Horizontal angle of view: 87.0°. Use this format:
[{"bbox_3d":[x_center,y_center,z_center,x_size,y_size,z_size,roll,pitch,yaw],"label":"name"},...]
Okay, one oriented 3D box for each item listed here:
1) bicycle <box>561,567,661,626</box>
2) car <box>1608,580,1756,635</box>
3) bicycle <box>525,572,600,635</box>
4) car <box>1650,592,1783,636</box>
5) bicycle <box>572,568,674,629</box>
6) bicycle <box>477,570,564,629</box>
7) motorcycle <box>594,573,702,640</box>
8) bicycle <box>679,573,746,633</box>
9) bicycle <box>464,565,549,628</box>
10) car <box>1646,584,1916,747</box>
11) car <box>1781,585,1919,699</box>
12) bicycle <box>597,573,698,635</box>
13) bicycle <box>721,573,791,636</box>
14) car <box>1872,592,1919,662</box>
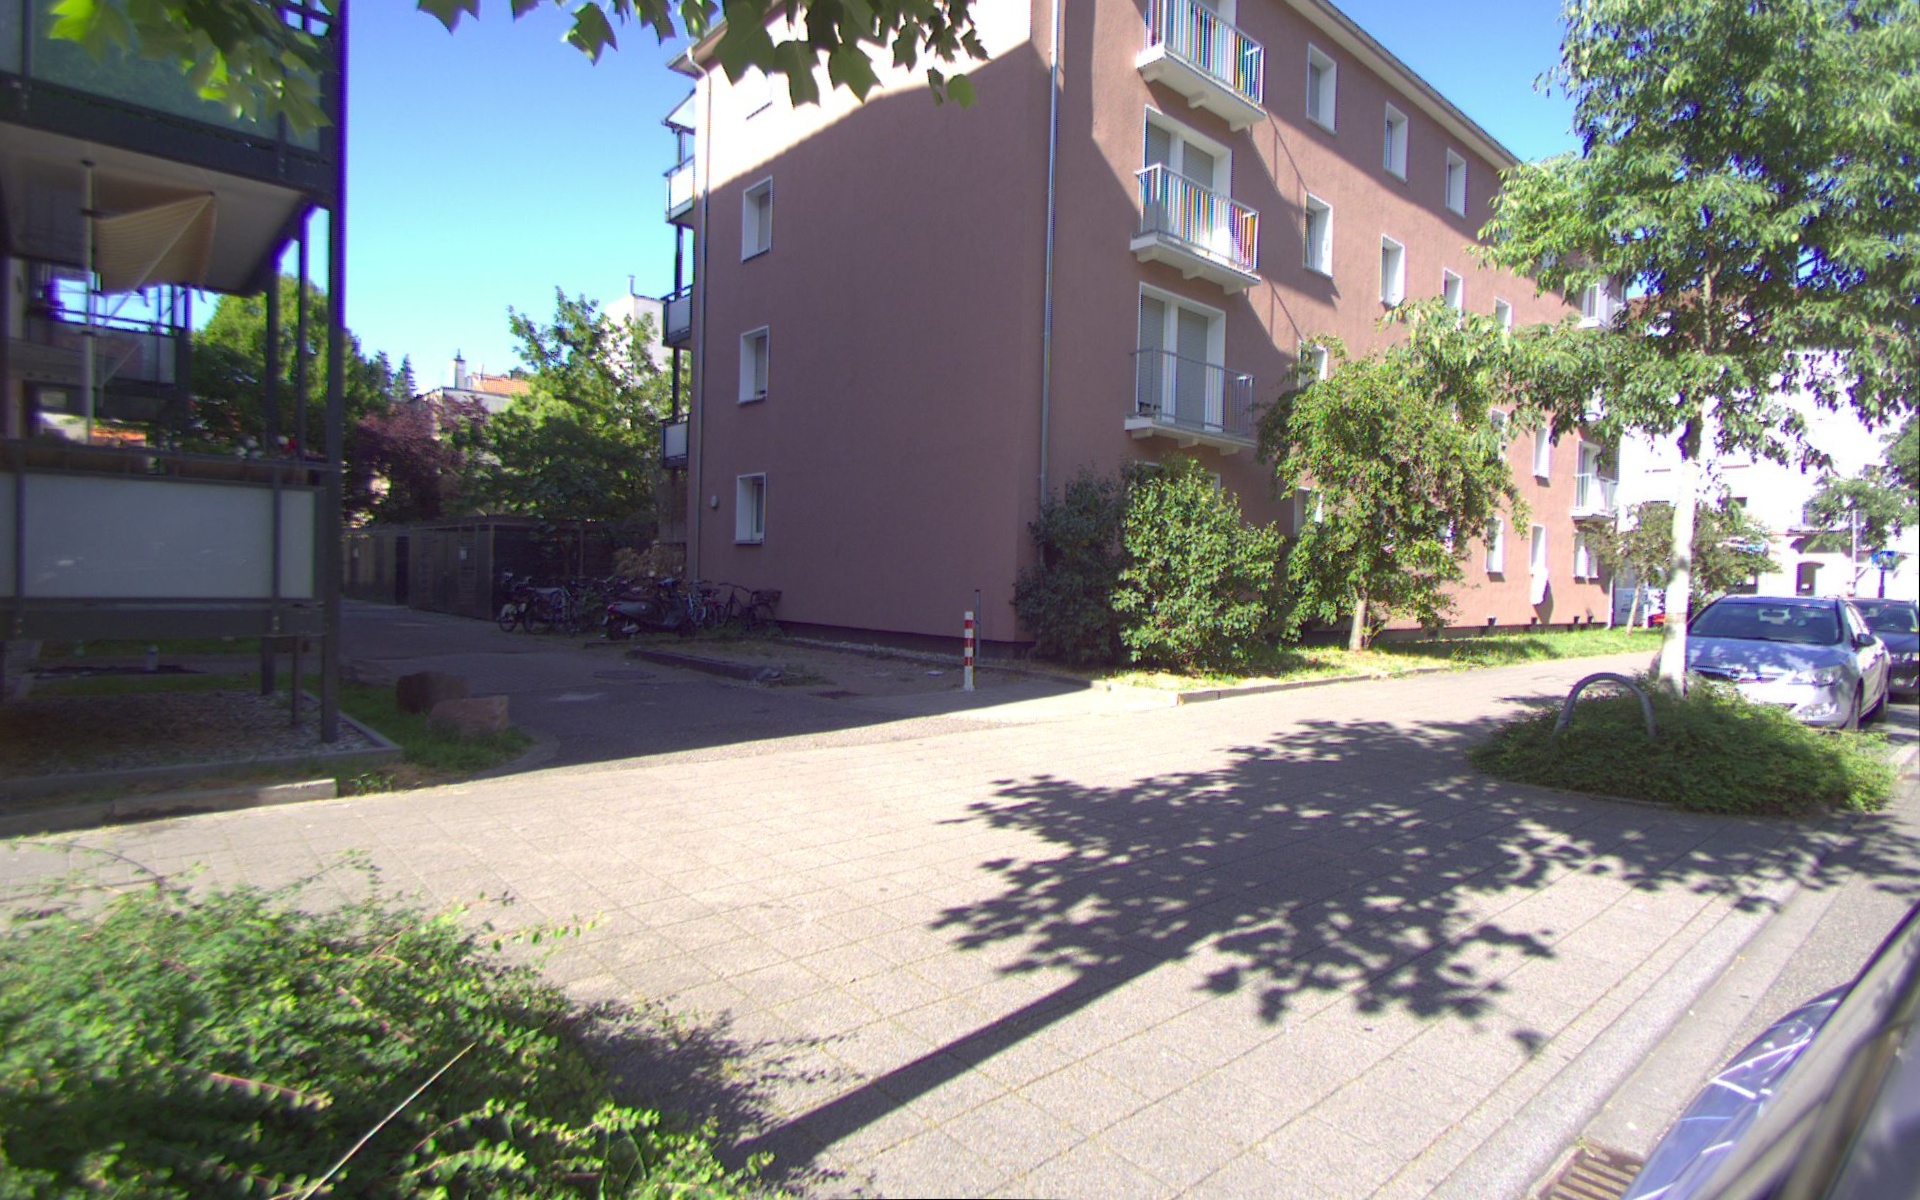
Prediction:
[{"bbox_3d":[-7.144,-0.070,20.775,1.847,1.166,0.578,0,1,-40],"label":"bicycle"},{"bbox_3d":[29.860,0.261,41.962,4.744,2.039,1.968,3,2,44],"label":"car"},{"bbox_3d":[-7.502,0.042,19.066,1.712,1.112,0.549,2,1,40],"label":"bicycle"},{"bbox_3d":[27.460,0.456,36.805,1.541,1.419,3.645,0,2,-41],"label":"car"},{"bbox_3d":[-6.669,-0.038,20.082,1.847,1.166,0.578,0,1,-40],"label":"bicycle"},{"bbox_3d":[-8.592,-0.011,19.814,1.454,1.112,0.556,0,1,-40],"label":"bicycle"},{"bbox_3d":[-5.437,0.103,17.700,1.741,1.120,0.526,0,2,-41],"label":"motorcycle"},{"bbox_3d":[-4.988,0.042,20.335,0.548,1.112,1.717,0,2,-42],"label":"bicycle"},{"bbox_3d":[-9.039,-0.070,20.191,1.454,1.221,0.556,0,1,-40],"label":"bicycle"},{"bbox_3d":[9.377,0.584,11.450,3.931,1.471,1.719,-1,3,-42],"label":"car"},{"bbox_3d":[14.067,0.562,15.487,4.236,1.500,1.660,0,2,-42],"label":"car"},{"bbox_3d":[-5.931,0.064,19.258,1.741,1.120,0.567,0,2,-41],"label":"bicycle"},{"bbox_3d":[-3.855,0.069,19.072,0.584,1.112,1.538,0,1,-42],"label":"bicycle"},{"bbox_3d":[21.714,0.591,22.444,3.930,1.446,1.735,0,2,-41],"label":"car"}]
